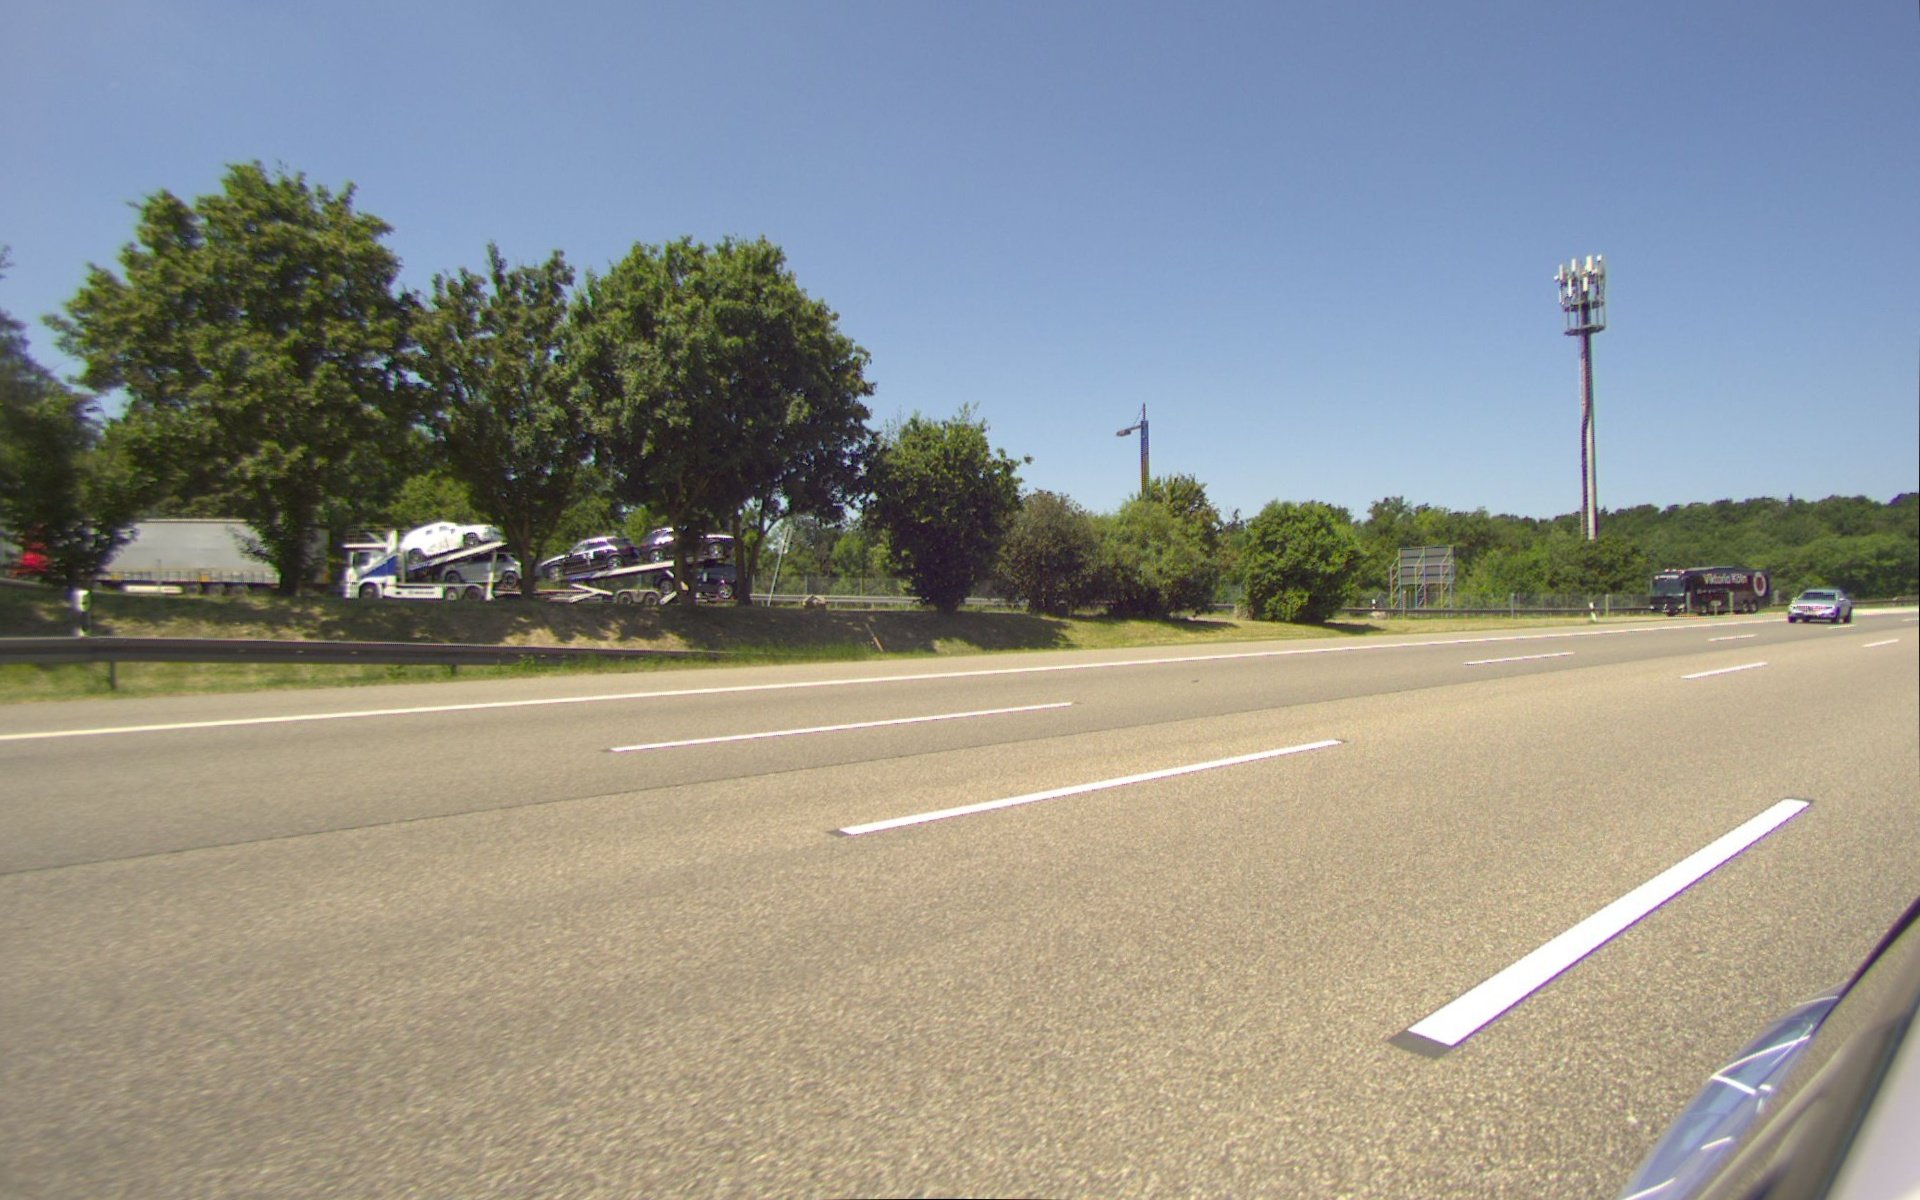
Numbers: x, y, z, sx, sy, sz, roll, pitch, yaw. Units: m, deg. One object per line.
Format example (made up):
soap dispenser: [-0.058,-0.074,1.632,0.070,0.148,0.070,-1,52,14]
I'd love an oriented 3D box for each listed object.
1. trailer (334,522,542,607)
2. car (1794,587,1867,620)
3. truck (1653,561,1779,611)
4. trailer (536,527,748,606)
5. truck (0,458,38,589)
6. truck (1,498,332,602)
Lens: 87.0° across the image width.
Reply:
trailer: [-26.063,-1.754,50.673,9.419,4.087,2.313,0,0,4]
car: [42.285,0.156,49.144,3.927,1.549,1.998,0,1,-38]
truck: [57.817,-1.128,77.248,12.075,3.616,2.757,-1,0,-28]
trailer: [-15.804,-1.655,50.723,9.923,3.764,2.244,-1,0,0]
truck: [-33.026,-2.290,29.349,9.096,3.926,2.972,-1,0,-39]
truck: [-41.470,-2.519,53.024,16.067,5.051,2.960,-1,0,6]
